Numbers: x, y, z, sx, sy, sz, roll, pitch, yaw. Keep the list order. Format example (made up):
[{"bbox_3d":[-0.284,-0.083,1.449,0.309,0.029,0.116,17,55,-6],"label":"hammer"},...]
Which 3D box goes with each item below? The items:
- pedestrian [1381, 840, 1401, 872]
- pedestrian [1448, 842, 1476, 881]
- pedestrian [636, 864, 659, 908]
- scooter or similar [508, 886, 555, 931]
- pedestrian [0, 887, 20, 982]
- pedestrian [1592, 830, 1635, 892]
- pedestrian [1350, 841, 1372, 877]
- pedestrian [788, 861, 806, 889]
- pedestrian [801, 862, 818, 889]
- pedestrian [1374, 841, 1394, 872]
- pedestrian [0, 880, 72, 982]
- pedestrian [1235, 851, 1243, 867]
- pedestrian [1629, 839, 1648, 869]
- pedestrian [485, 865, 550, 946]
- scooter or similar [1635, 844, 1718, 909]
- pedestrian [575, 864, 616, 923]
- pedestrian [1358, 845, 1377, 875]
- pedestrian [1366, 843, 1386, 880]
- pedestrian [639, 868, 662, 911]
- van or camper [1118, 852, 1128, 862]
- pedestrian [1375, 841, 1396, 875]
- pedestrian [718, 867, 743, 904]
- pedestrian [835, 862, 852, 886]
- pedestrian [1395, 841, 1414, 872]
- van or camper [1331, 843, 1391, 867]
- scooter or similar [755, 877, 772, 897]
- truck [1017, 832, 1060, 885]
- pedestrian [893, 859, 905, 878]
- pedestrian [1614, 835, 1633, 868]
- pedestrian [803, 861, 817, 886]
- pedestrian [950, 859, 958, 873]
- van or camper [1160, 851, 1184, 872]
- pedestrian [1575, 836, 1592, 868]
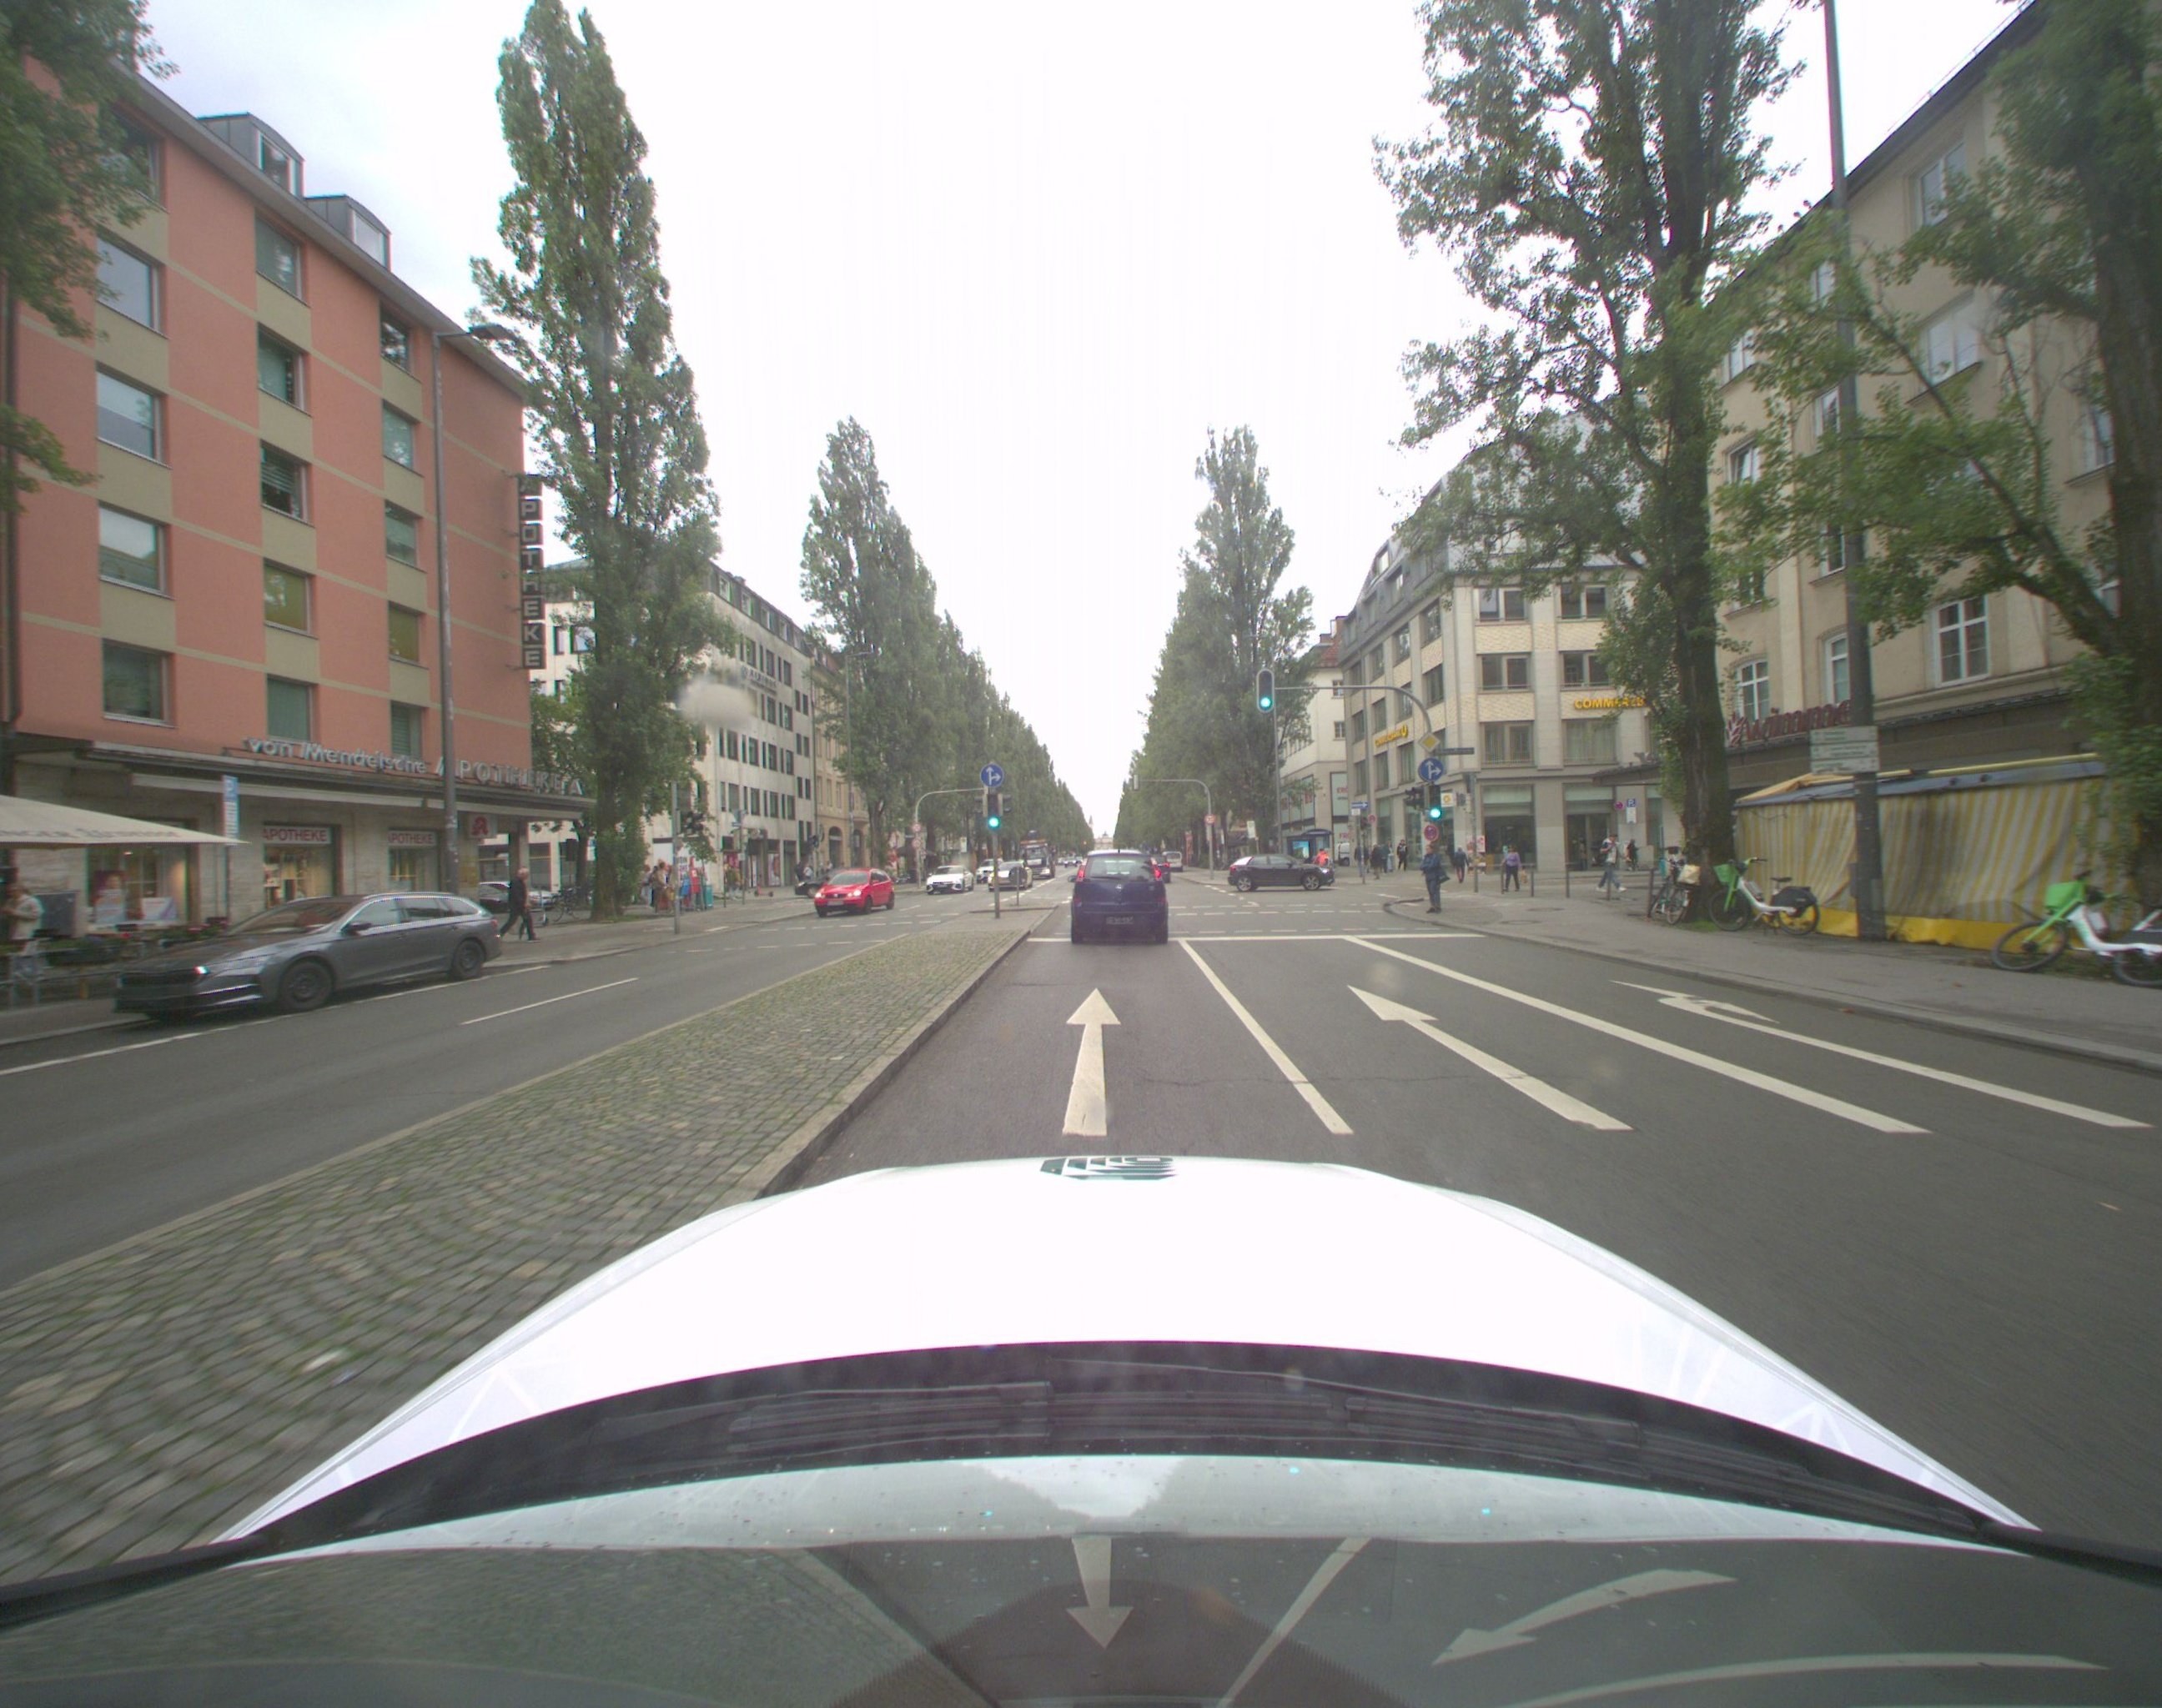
[{"bbox_3d":[17.708,0.116,46.546,0.747,1.758,1.018,-2,0,3],"label":"pedestrian"},{"bbox_3d":[16.269,0.328,34.806,0.746,1.636,0.734,-3,-2,4],"label":"pedestrian"},{"bbox_3d":[-17.340,1.273,32.581,0.584,1.691,0.514,-2,0,1],"label":"pedestrian"},{"bbox_3d":[-15.410,1.504,22.864,0.406,1.173,1.402,-2,0,-2],"label":"scooter or similar"},{"bbox_3d":[-19.078,1.411,14.062,0.553,1.638,0.692,-2,0,1],"label":"pedestrian"},{"bbox_3d":[15.235,0.209,23.295,0.849,1.703,0.670,-4,-3,42],"label":"pedestrian"},{"bbox_3d":[14.762,0.259,42.917,0.815,1.818,0.890,-2,-1,0],"label":"pedestrian"},{"bbox_3d":[-18.285,1.320,52.453,0.797,1.787,0.912,0,0,2],"label":"pedestrian"},{"bbox_3d":[-17.487,1.393,52.451,0.729,1.682,0.978,0,0,2],"label":"pedestrian"},{"bbox_3d":[17.329,0.149,46.574,0.747,1.718,0.963,-2,0,3],"label":"pedestrian"},{"bbox_3d":[-18.482,1.338,14.330,0.553,1.717,0.692,-2,0,1],"label":"pedestrian"},{"bbox_3d":[18.519,0.574,95.398,0.822,1.841,1.100,-2,-1,4],"label":"pedestrian"},{"bbox_3d":[26.198,0.003,38.256,0.442,1.405,0.584,-2,0,-2],"label":"pedestrian"},{"bbox_3d":[-13.044,1.171,18.882,0.729,1.796,0.997,-1,-1,20],"label":"pedestrian"},{"bbox_3d":[11.947,0.434,16.381,0.407,1.243,1.365,-2,0,-14],"label":"scooter or similar"},{"bbox_3d":[-15.152,1.217,25.434,0.721,1.771,0.778,-2,0,2],"label":"pedestrian"},{"bbox_3d":[16.466,0.327,46.814,0.747,1.677,0.963,-2,0,3],"label":"pedestrian"},{"bbox_3d":[14.496,0.356,40.003,0.705,1.758,0.753,-2,0,3],"label":"pedestrian"},{"bbox_3d":[-16.891,1.391,31.978,0.627,1.689,0.519,-1,-1,2],"label":"pedestrian"},{"bbox_3d":[11.058,0.769,213.594,2.467,2.581,5.847,-2,0,2],"label":"van or camper"},{"bbox_3d":[16.600,0.224,44.376,0.747,1.758,0.859,-2,-2,3],"label":"pedestrian"},{"bbox_3d":[-16.770,1.487,38.980,0.724,1.740,0.942,-1,-1,1],"label":"pedestrian"},{"bbox_3d":[-16.258,1.347,55.788,0.775,1.618,0.935,-2,0,1],"label":"pedestrian"},{"bbox_3d":[18.535,0.147,46.673,0.747,1.758,0.711,-2,-1,3],"label":"pedestrian"},{"bbox_3d":[21.849,0.094,63.667,4.084,1.867,1.901,-1,-1,5],"label":"van or camper"},{"bbox_3d":[-17.029,1.763,43.721,0.811,1.093,0.274,-1,-1,-3],"label":"scooter or similar"},{"bbox_3d":[-3.131,0.297,62.063,2.454,3.670,8.442,-2,0,2],"label":"truck"},{"bbox_3d":[-16.952,1.378,75.864,0.840,1.744,0.955,-1,-1,2],"label":"pedestrian"},{"bbox_3d":[26.039,-0.126,39.113,0.442,1.531,0.584,-2,0,-2],"label":"pedestrian"},{"bbox_3d":[-20.008,1.404,60.082,0.696,1.787,0.821,-2,0,3],"label":"pedestrian"},{"bbox_3d":[-15.224,1.441,97.720,0.731,1.673,0.953,-2,0,1],"label":"pedestrian"},{"bbox_3d":[8.591,0.726,77.042,1.862,1.883,4.904,-1,0,1],"label":"van or camper"},{"bbox_3d":[25.101,-0.099,40.677,0.442,1.531,0.584,-2,0,-2],"label":"pedestrian"}]
